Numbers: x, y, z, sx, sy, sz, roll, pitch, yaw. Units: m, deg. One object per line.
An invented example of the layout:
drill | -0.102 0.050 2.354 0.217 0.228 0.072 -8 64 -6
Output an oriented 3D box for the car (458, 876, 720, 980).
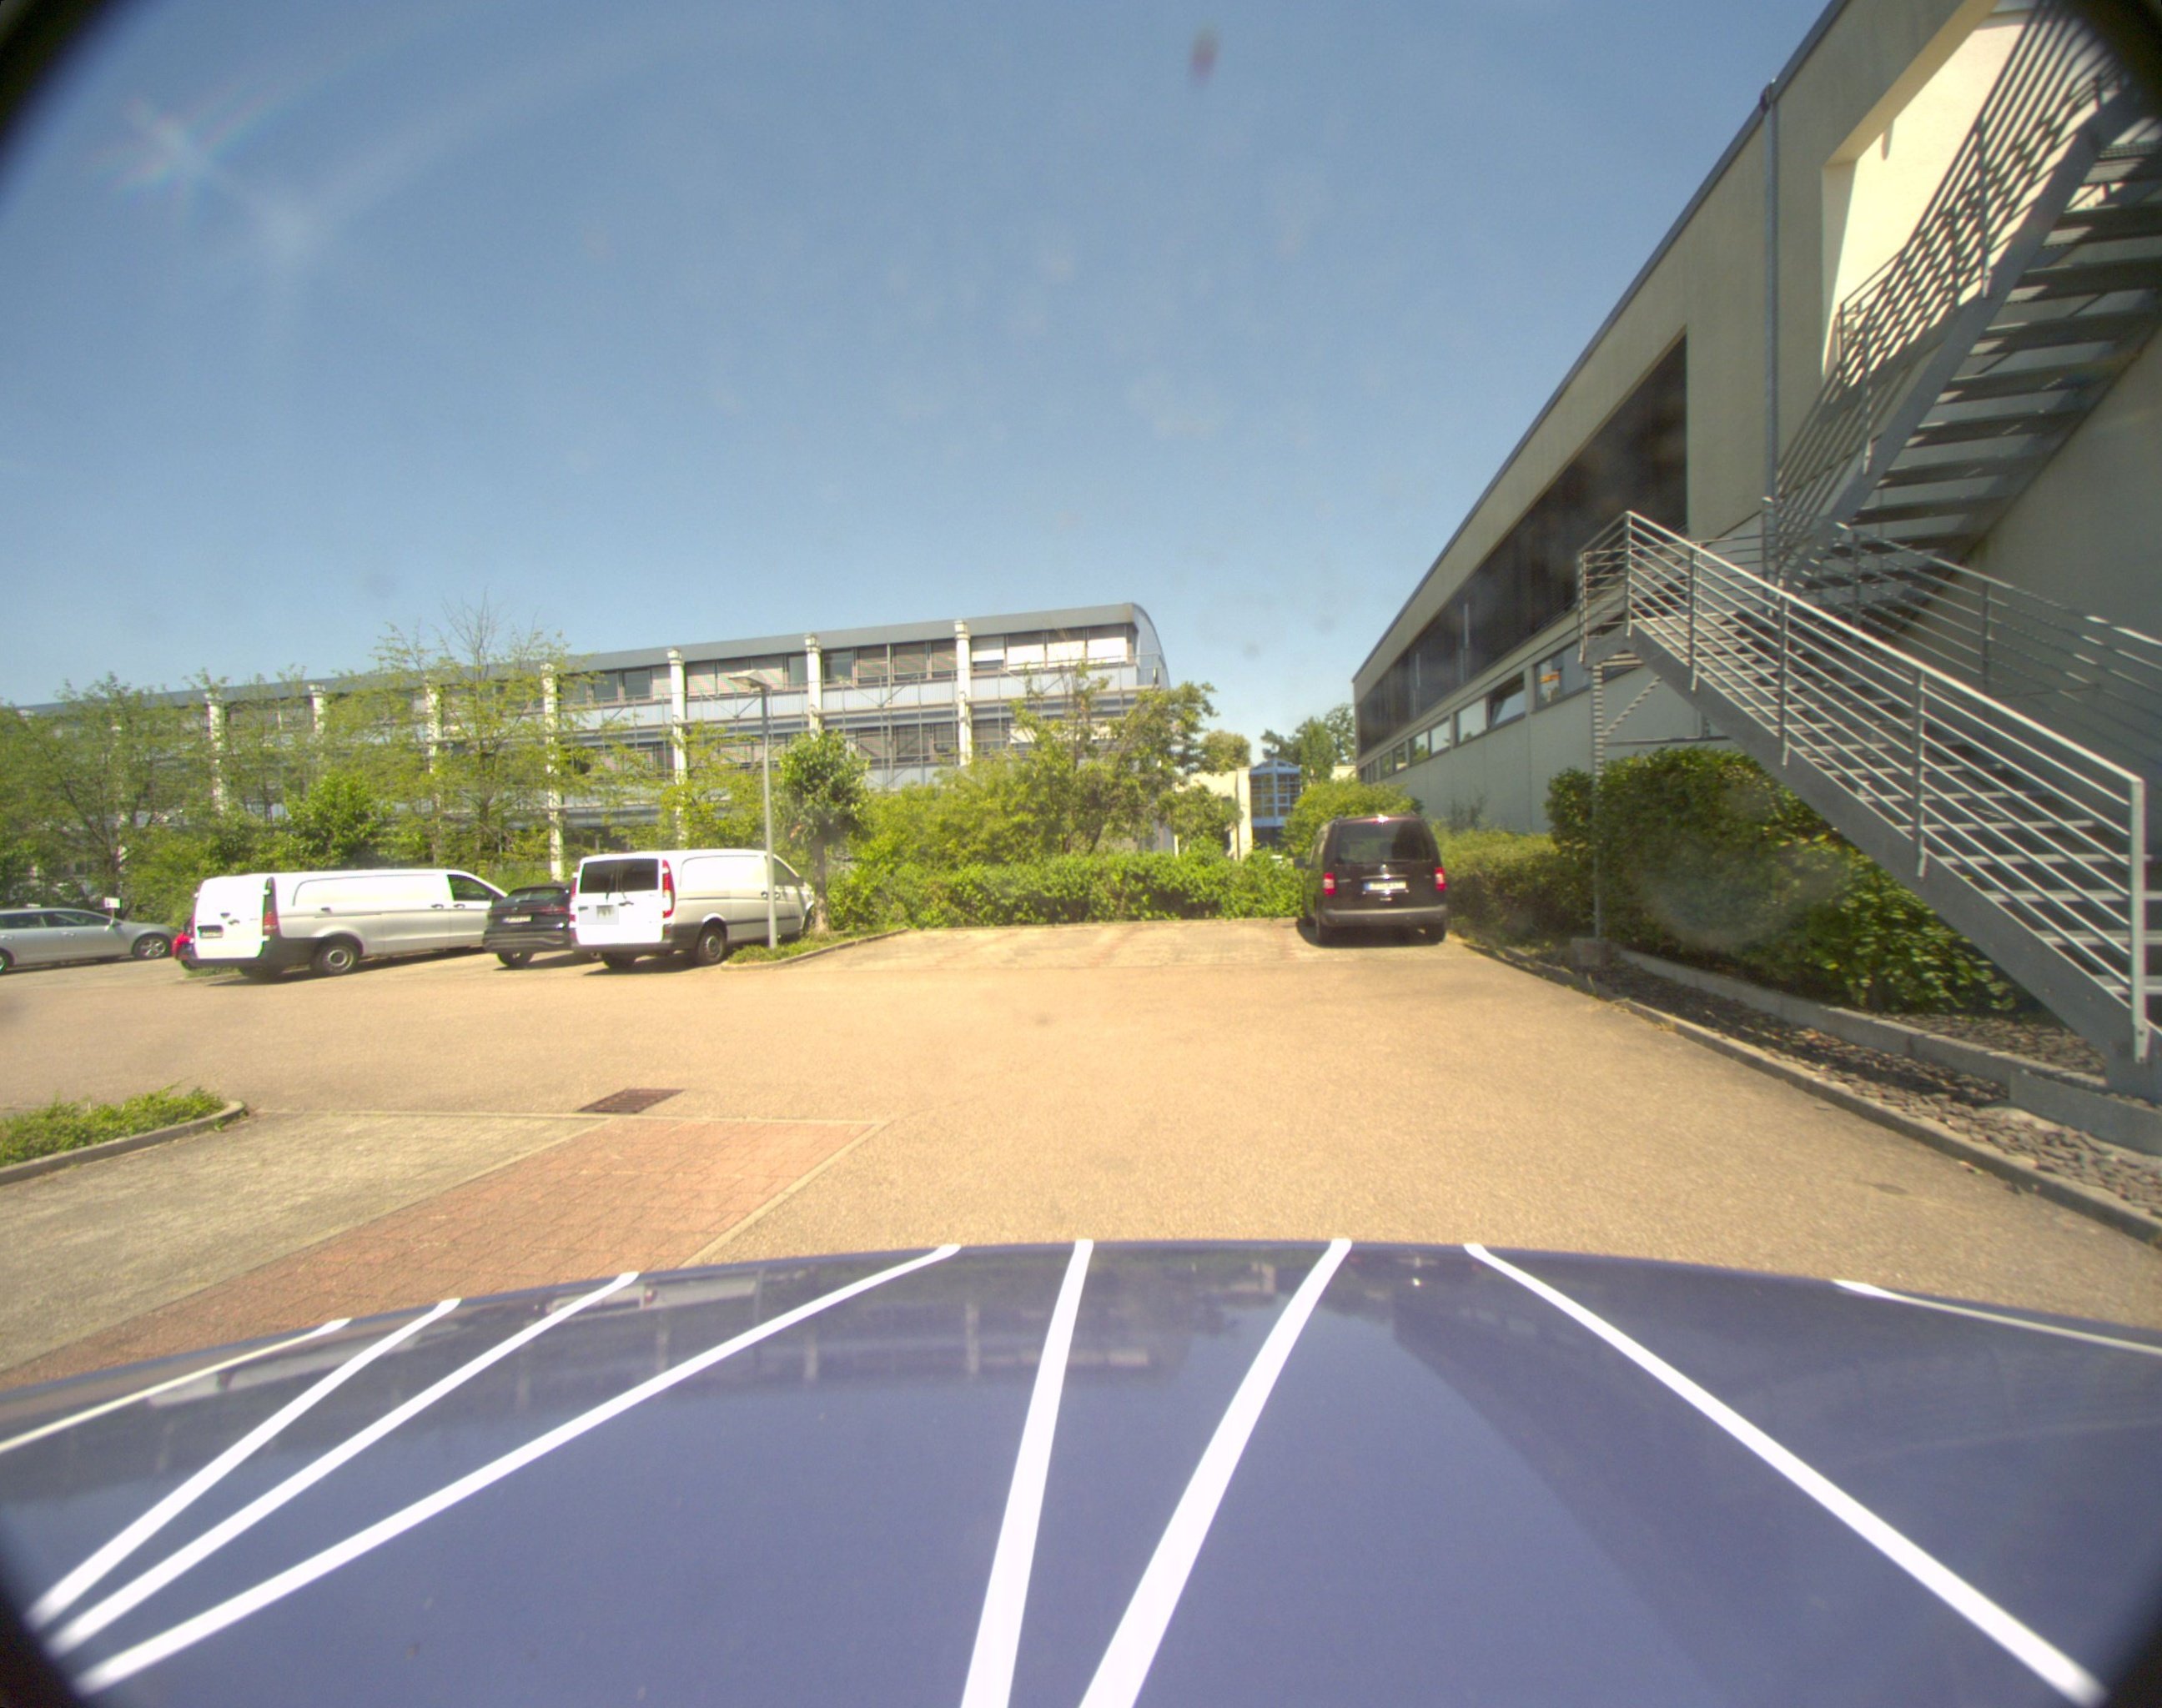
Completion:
car | -9.160 1.294 14.651 1.737 1.475 4.200 -3 1 11

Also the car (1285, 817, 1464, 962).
car | 4.432 0.445 12.153 1.866 1.849 4.231 -3 1 11

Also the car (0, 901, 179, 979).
car | -24.404 2.022 17.607 1.736 1.475 4.088 -3 1 14

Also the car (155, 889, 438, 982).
car | -16.727 1.659 16.516 1.622 1.479 3.924 -3 1 13

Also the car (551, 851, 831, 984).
car | -6.582 0.953 13.587 1.866 1.849 4.680 -3 1 11

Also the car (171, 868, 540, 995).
car | -13.742 1.341 14.950 1.854 1.845 4.939 -3 1 13

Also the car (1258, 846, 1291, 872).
car | 13.692 0.320 53.938 1.834 1.558 4.001 -2 2 8
